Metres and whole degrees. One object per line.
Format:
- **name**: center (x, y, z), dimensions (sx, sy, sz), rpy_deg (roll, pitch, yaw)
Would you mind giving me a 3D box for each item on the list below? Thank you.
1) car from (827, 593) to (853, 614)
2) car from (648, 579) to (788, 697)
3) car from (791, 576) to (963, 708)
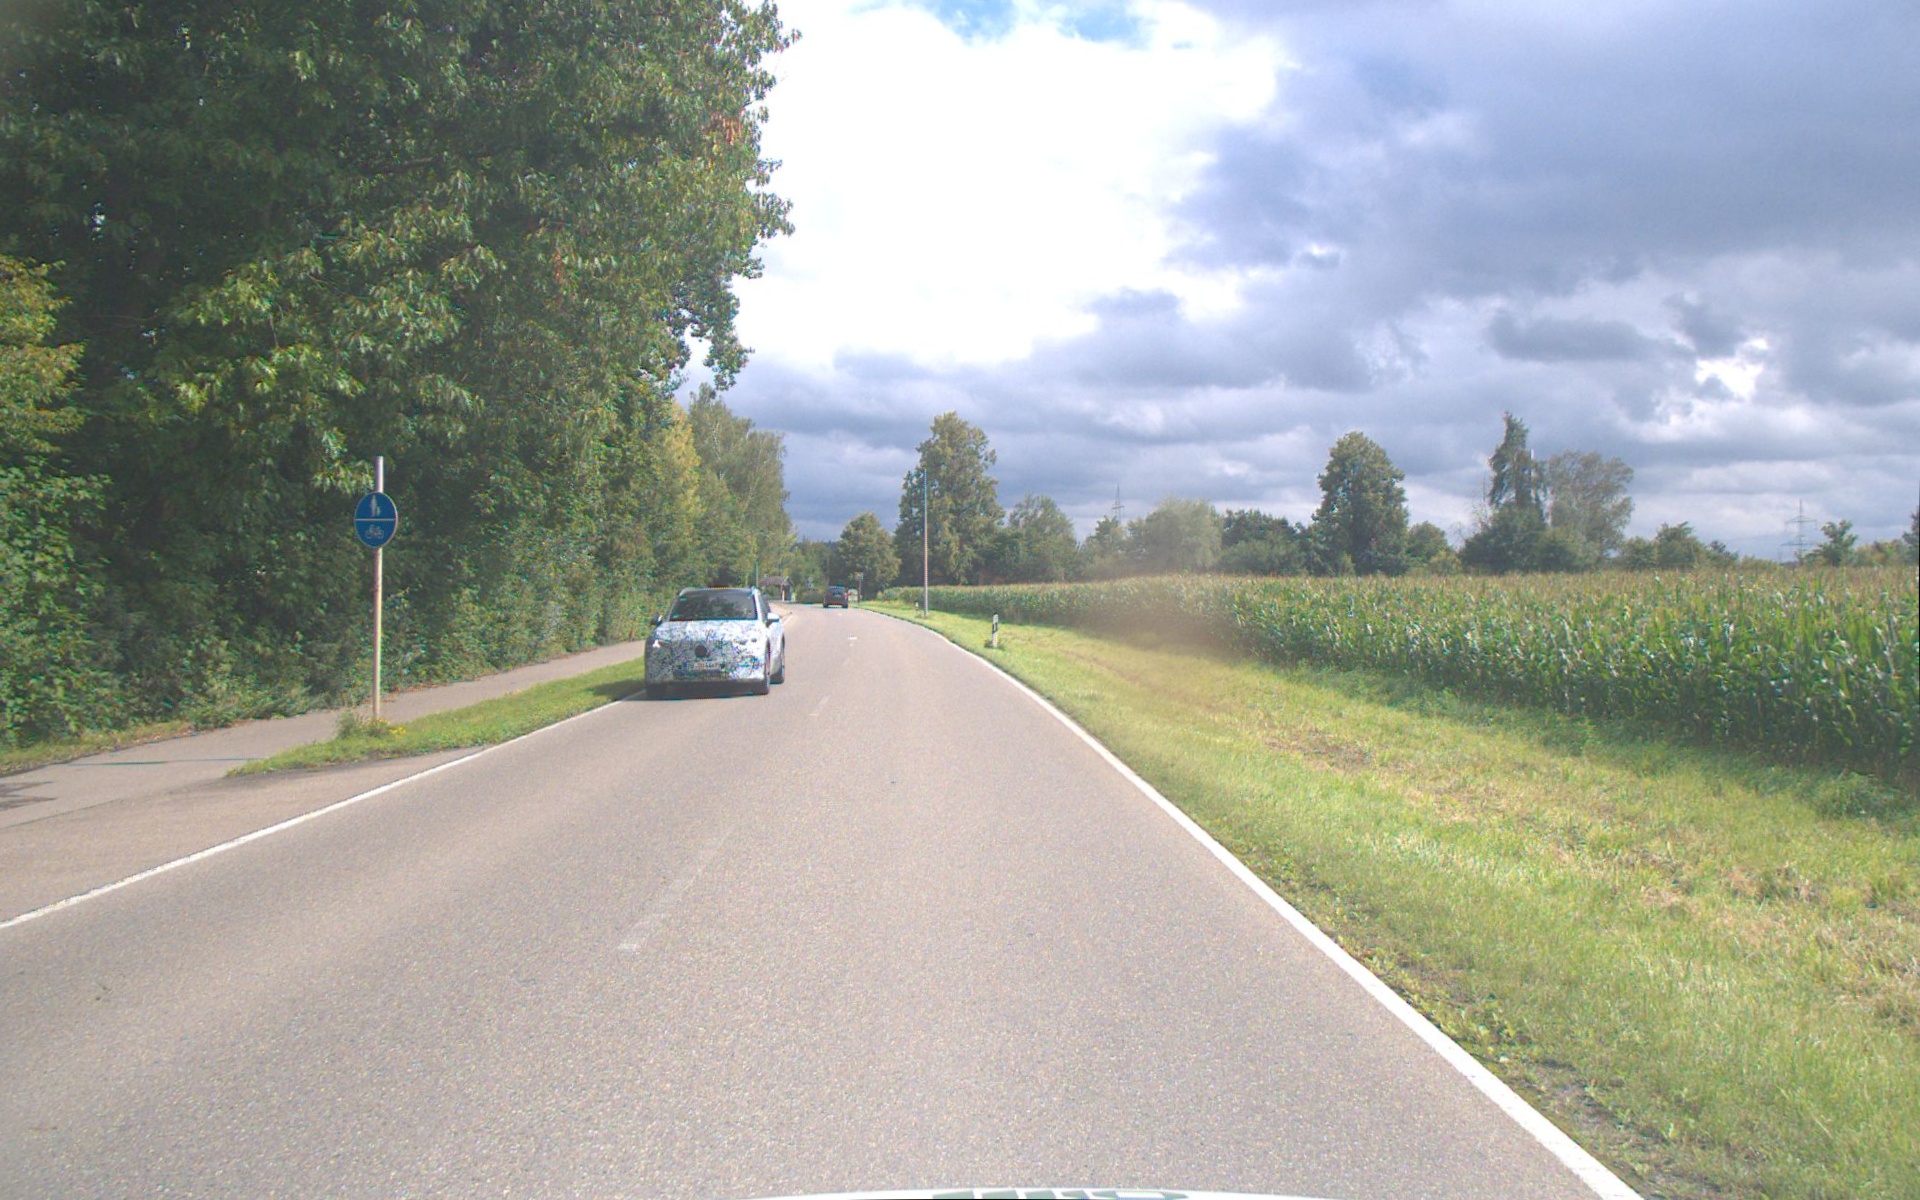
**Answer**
- **car**: center (-9.621, 0.303, 132.605), dimensions (1.954, 1.613, 3.996), rpy_deg (2, -1, -5)
- **car**: center (-3.775, 0.548, 26.437), dimensions (1.775, 1.679, 4.290), rpy_deg (-2, 0, -3)
- **car**: center (-1.495, 0.676, 28.185), dimensions (1.962, 2.049, 3.981), rpy_deg (2, -1, -17)
